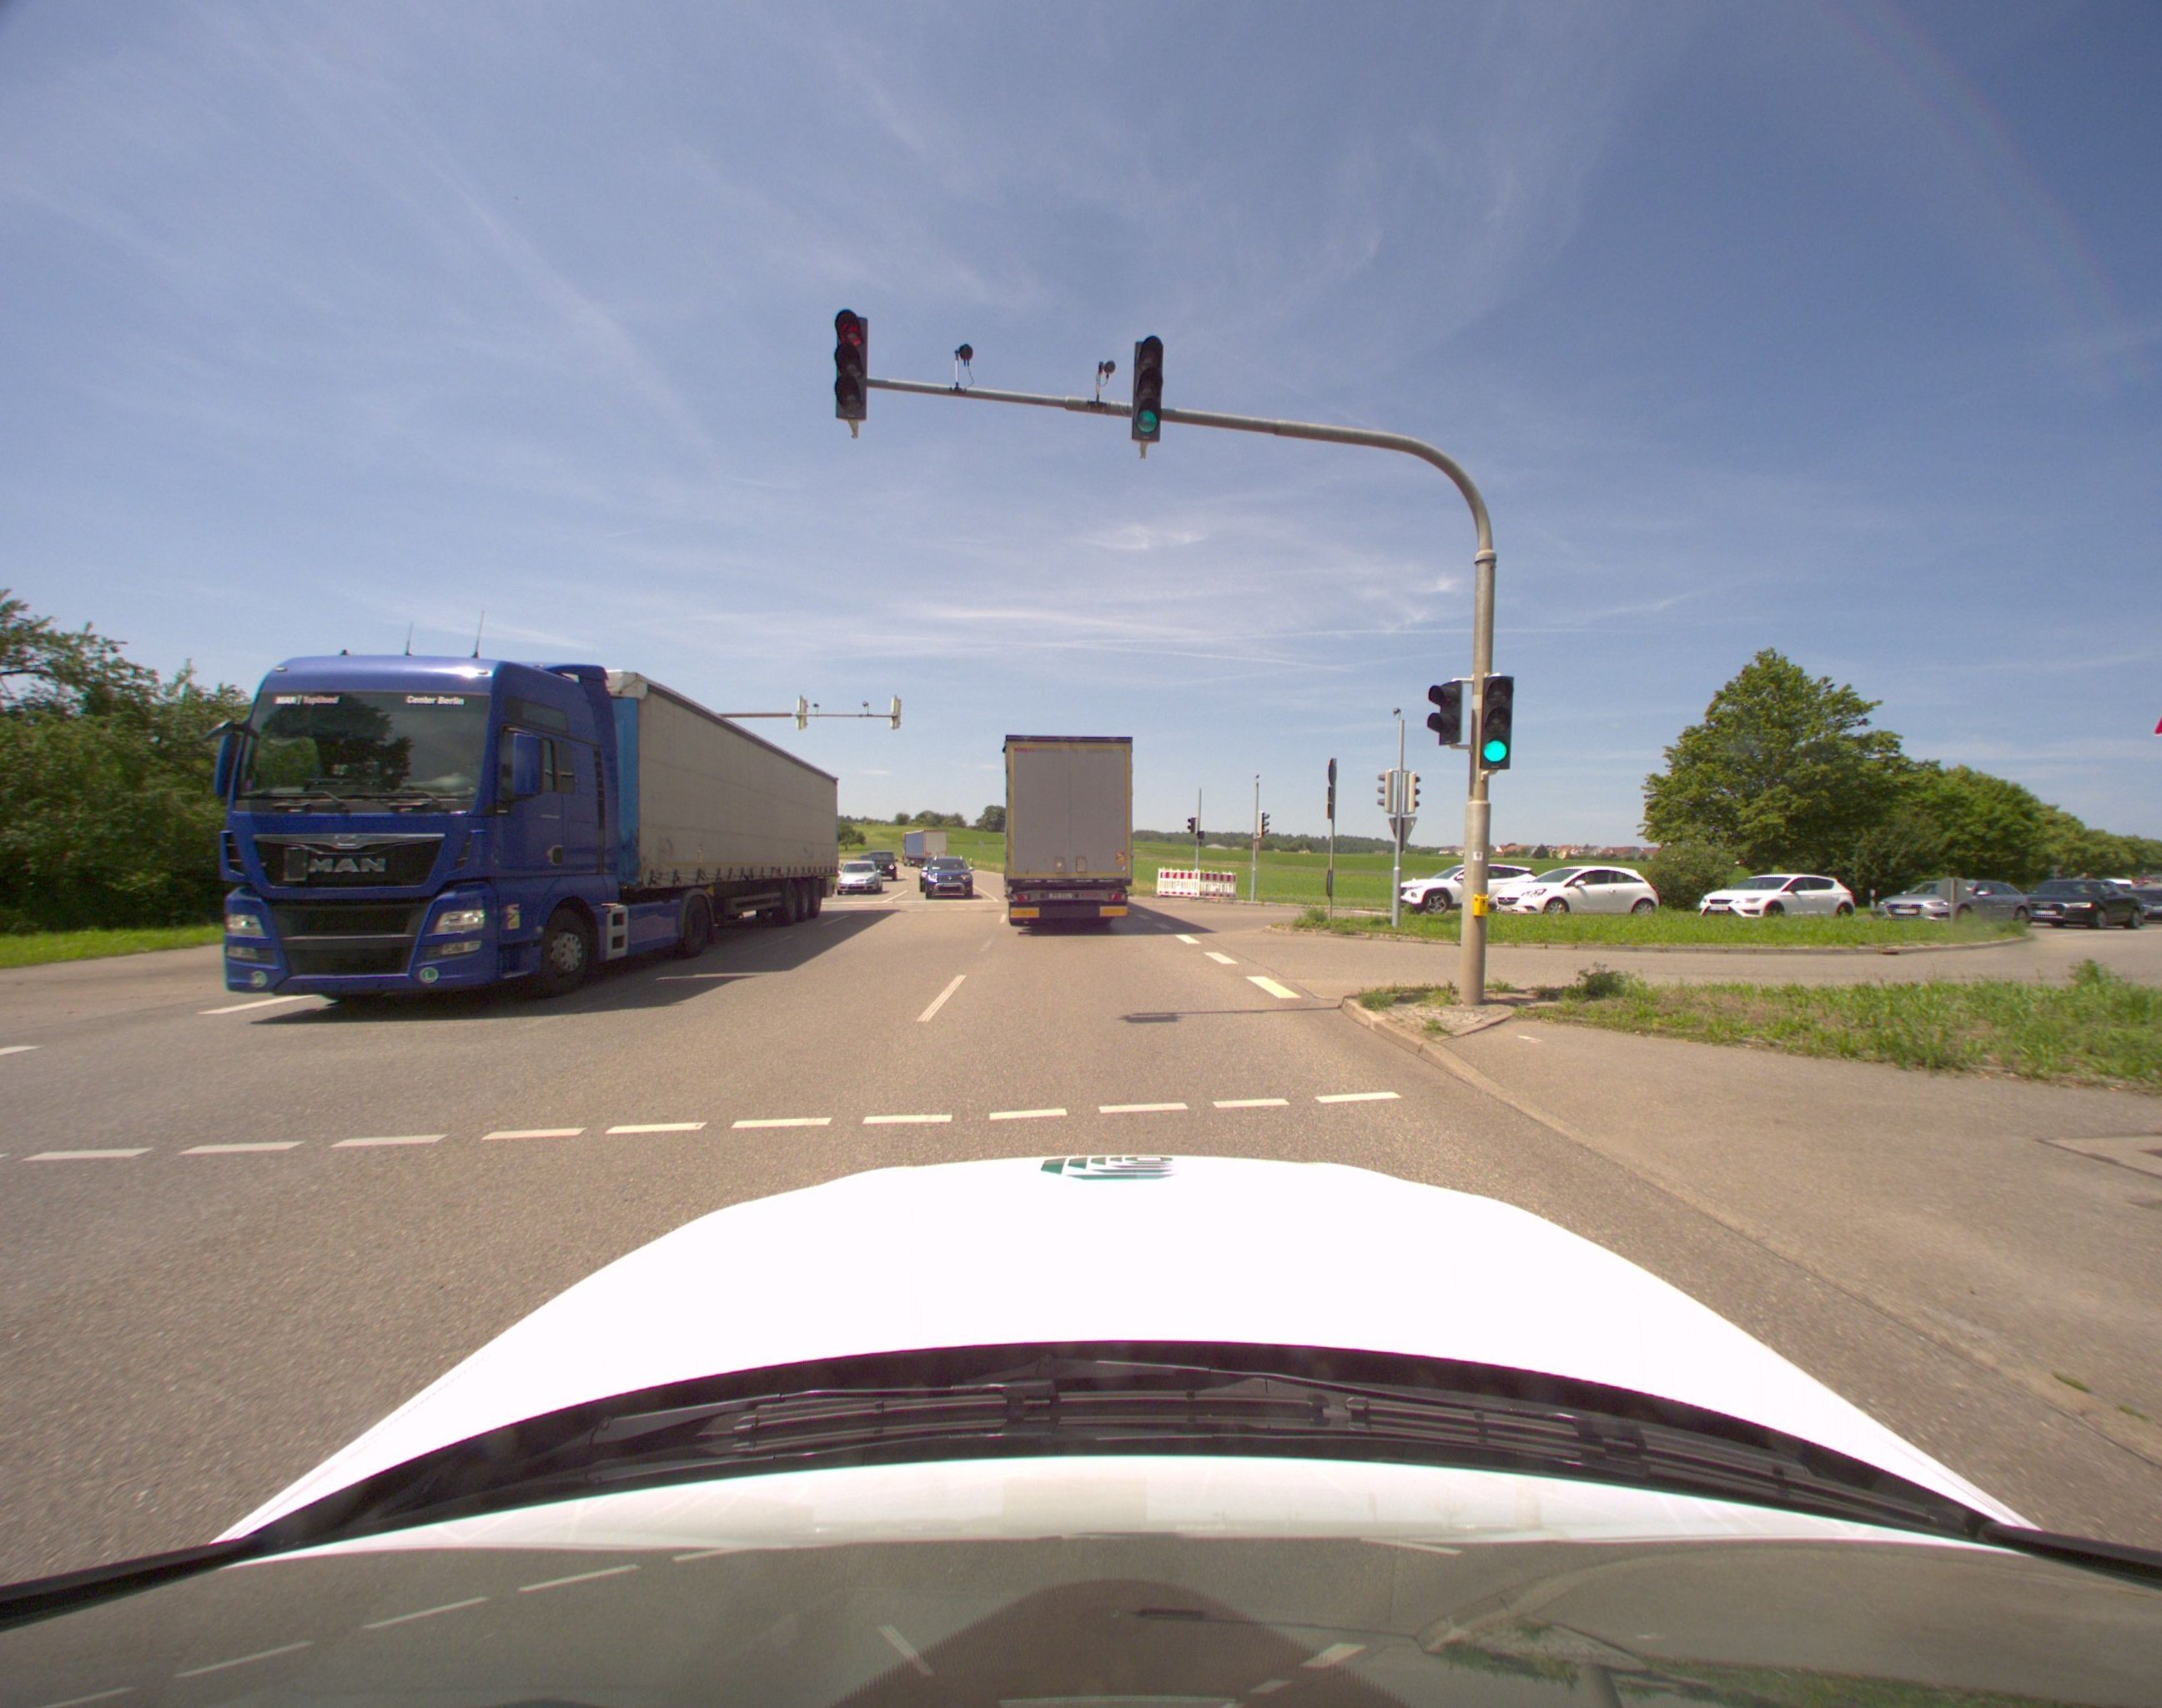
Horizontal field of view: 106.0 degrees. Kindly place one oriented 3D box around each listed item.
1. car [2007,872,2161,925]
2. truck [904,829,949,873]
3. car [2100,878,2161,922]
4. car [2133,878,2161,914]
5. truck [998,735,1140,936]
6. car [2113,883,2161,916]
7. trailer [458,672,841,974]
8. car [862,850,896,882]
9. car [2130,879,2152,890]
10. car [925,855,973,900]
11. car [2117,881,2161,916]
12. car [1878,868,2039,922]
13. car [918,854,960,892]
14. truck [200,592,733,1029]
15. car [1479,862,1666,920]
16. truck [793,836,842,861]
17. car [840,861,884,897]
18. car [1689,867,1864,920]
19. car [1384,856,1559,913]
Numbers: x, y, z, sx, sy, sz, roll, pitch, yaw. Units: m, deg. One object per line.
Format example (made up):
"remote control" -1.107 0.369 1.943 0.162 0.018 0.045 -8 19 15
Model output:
"car" 32.337 1.434 26.172 4.560 1.510 1.789 3 -3 -19
"truck" -17.880 -0.225 93.253 2.969 4.584 16.214 0 0 -18
"car" 39.055 1.678 29.749 4.577 1.510 1.782 2 -2 -32
"car" 53.782 2.077 40.278 4.309 1.698 1.978 2 -2 -36
"truck" -0.668 -0.340 20.905 2.804 3.946 9.572 0 -1 -5
"car" 43.837 1.855 33.322 4.581 1.273 1.781 2 -2 -36
"trailer" -7.793 -0.418 17.774 2.564 4.030 13.563 0 0 -6
"car" -13.446 0.760 54.089 1.998 2.006 5.136 0 -1 -16
"car" 167.669 4.882 128.847 4.019 1.649 1.977 2 -2 -38
"car" -5.175 0.879 32.164 1.770 1.658 3.988 0 -1 -8
"car" 48.267 2.006 36.776 4.252 1.510 1.780 2 -2 -38
"car" 26.464 1.248 24.567 4.564 1.510 1.788 2 -2 -22
"car" -6.652 0.871 38.440 1.770 1.658 3.989 0 -1 -8
"truck" -7.112 -0.409 10.898 2.562 4.030 6.548 0 0 -5
"car" 12.938 0.969 21.580 3.953 1.419 1.825 1 -2 -5
"truck" -47.667 -0.817 146.930 3.668 4.130 12.941 2 -2 -41
"car" -9.815 1.089 36.728 1.773 1.495 3.982 -1 -1 -13
"car" 19.685 1.091 23.096 4.100 1.419 1.791 1 -2 -16
"car" 12.236 0.969 25.714 4.612 1.607 1.997 1 -2 -1
